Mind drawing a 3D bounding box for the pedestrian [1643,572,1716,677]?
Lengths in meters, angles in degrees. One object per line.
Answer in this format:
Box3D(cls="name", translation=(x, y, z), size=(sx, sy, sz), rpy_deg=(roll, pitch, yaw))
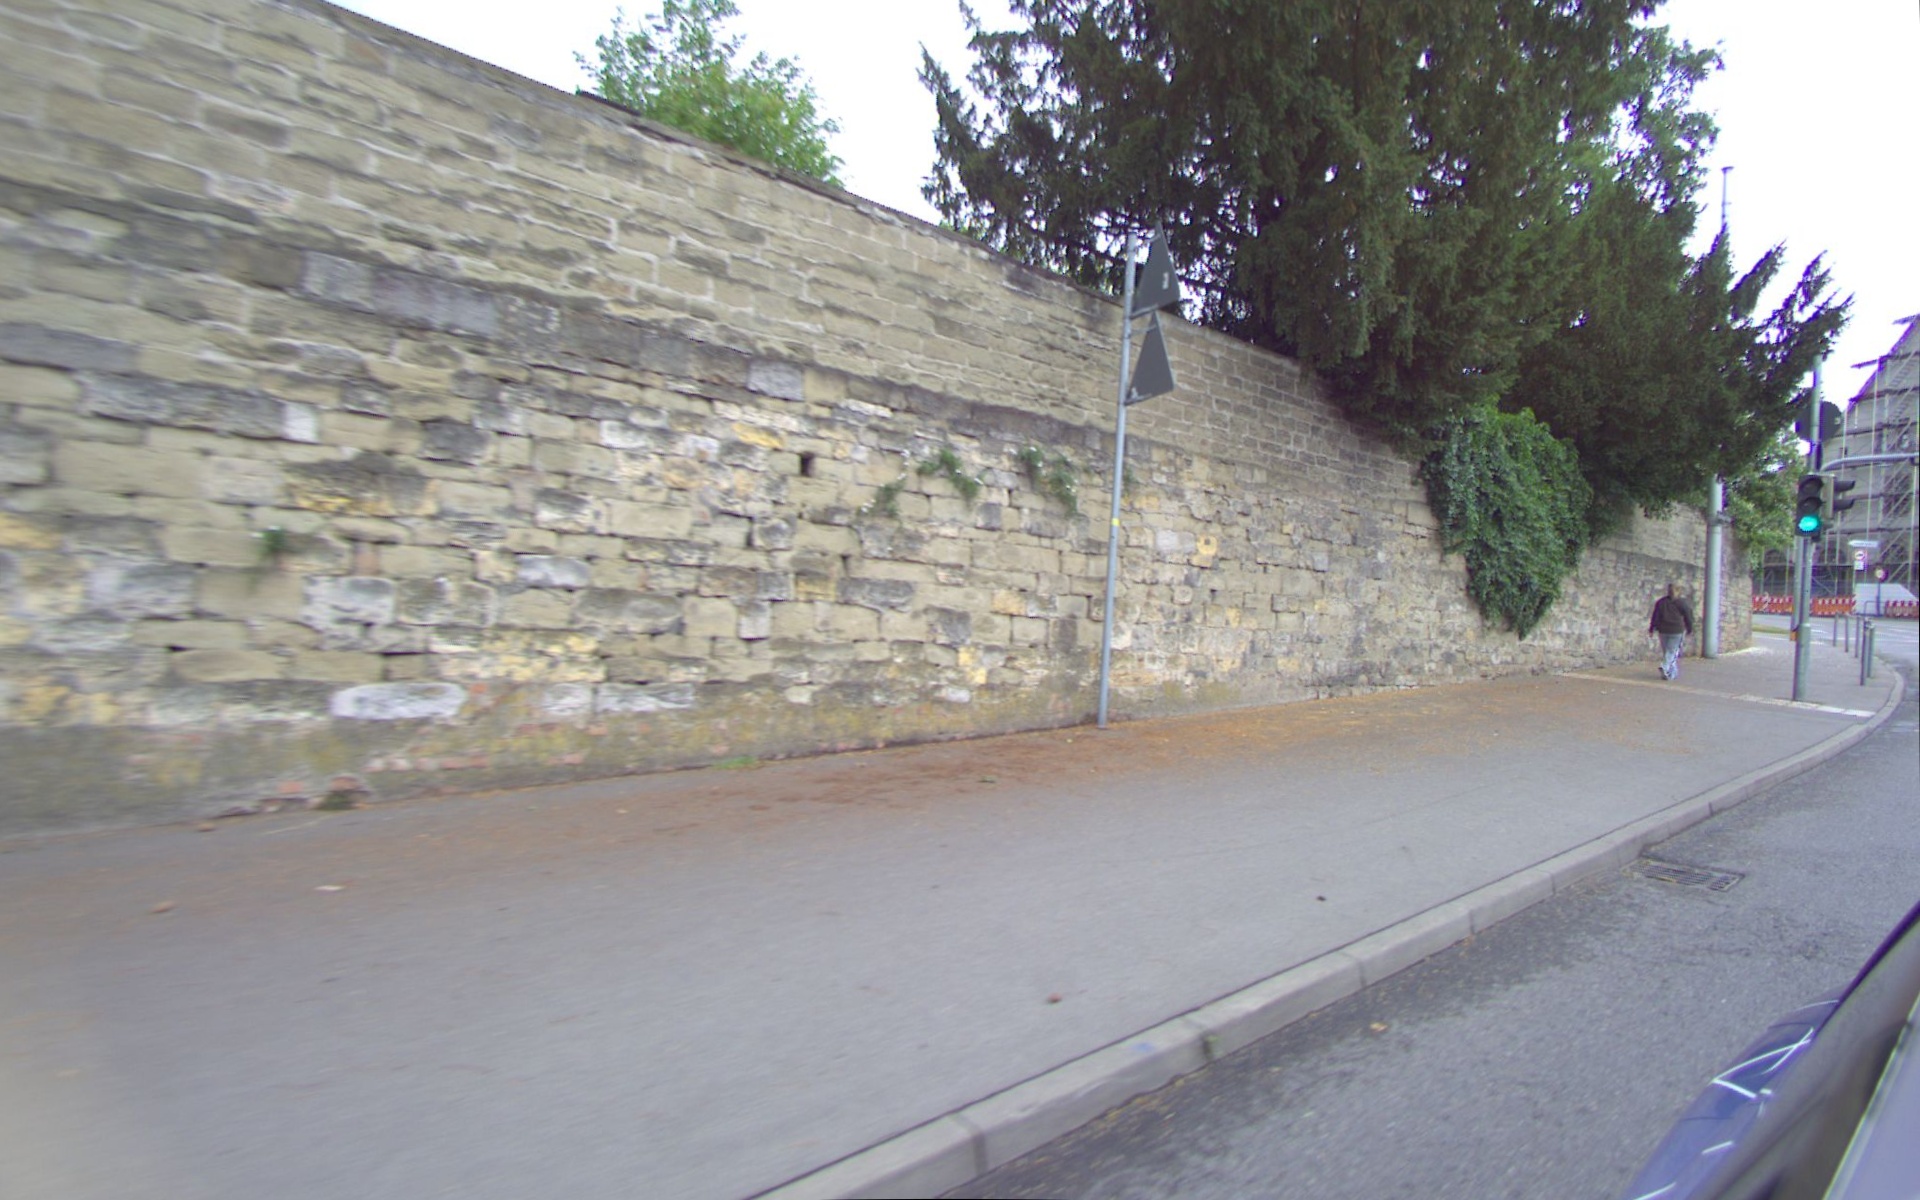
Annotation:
Box3D(cls="pedestrian", translation=(11.524, 0.371, 16.208), size=(0.731, 1.595, 0.732), rpy_deg=(1, 3, -43))
